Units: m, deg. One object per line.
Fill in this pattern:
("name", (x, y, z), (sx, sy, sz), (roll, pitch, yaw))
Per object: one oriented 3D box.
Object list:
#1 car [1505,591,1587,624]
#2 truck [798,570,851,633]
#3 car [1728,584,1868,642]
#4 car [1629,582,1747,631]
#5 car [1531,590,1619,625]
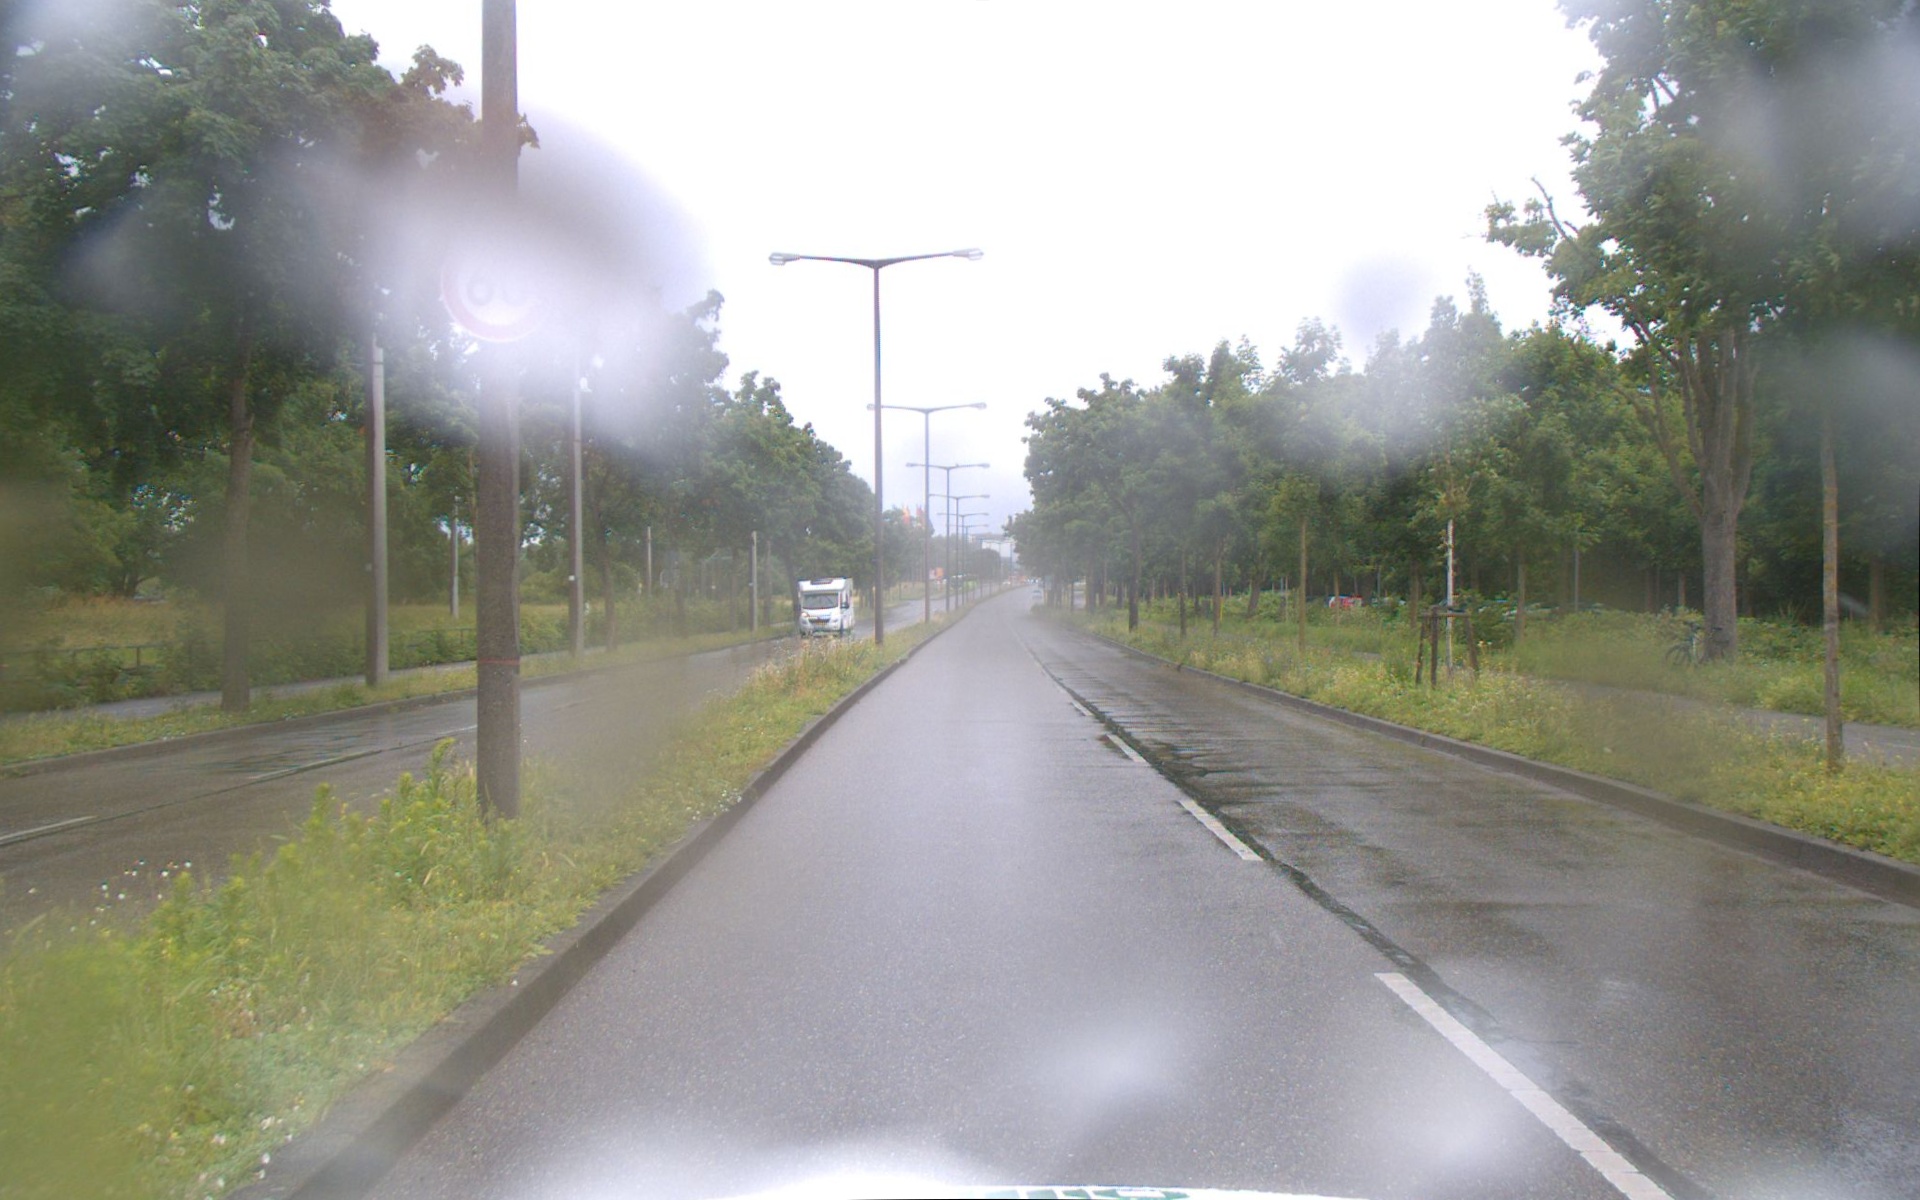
("car", (32.109, 0.411, 90.683), (3.902, 1.669, 1.808), (1, -1, 6))
("truck", (-6.529, 0.096, 80.267), (2.094, 2.893, 5.072), (-2, -1, -1))
("car", (28.807, 0.444, 56.936), (3.873, 1.852, 1.897), (1, -1, 1))
("car", (29.181, 0.274, 66.372), (3.873, 1.852, 1.897), (1, -1, 1))
("car", (31.596, 0.402, 85.049), (3.902, 1.669, 1.808), (1, -1, 6))
